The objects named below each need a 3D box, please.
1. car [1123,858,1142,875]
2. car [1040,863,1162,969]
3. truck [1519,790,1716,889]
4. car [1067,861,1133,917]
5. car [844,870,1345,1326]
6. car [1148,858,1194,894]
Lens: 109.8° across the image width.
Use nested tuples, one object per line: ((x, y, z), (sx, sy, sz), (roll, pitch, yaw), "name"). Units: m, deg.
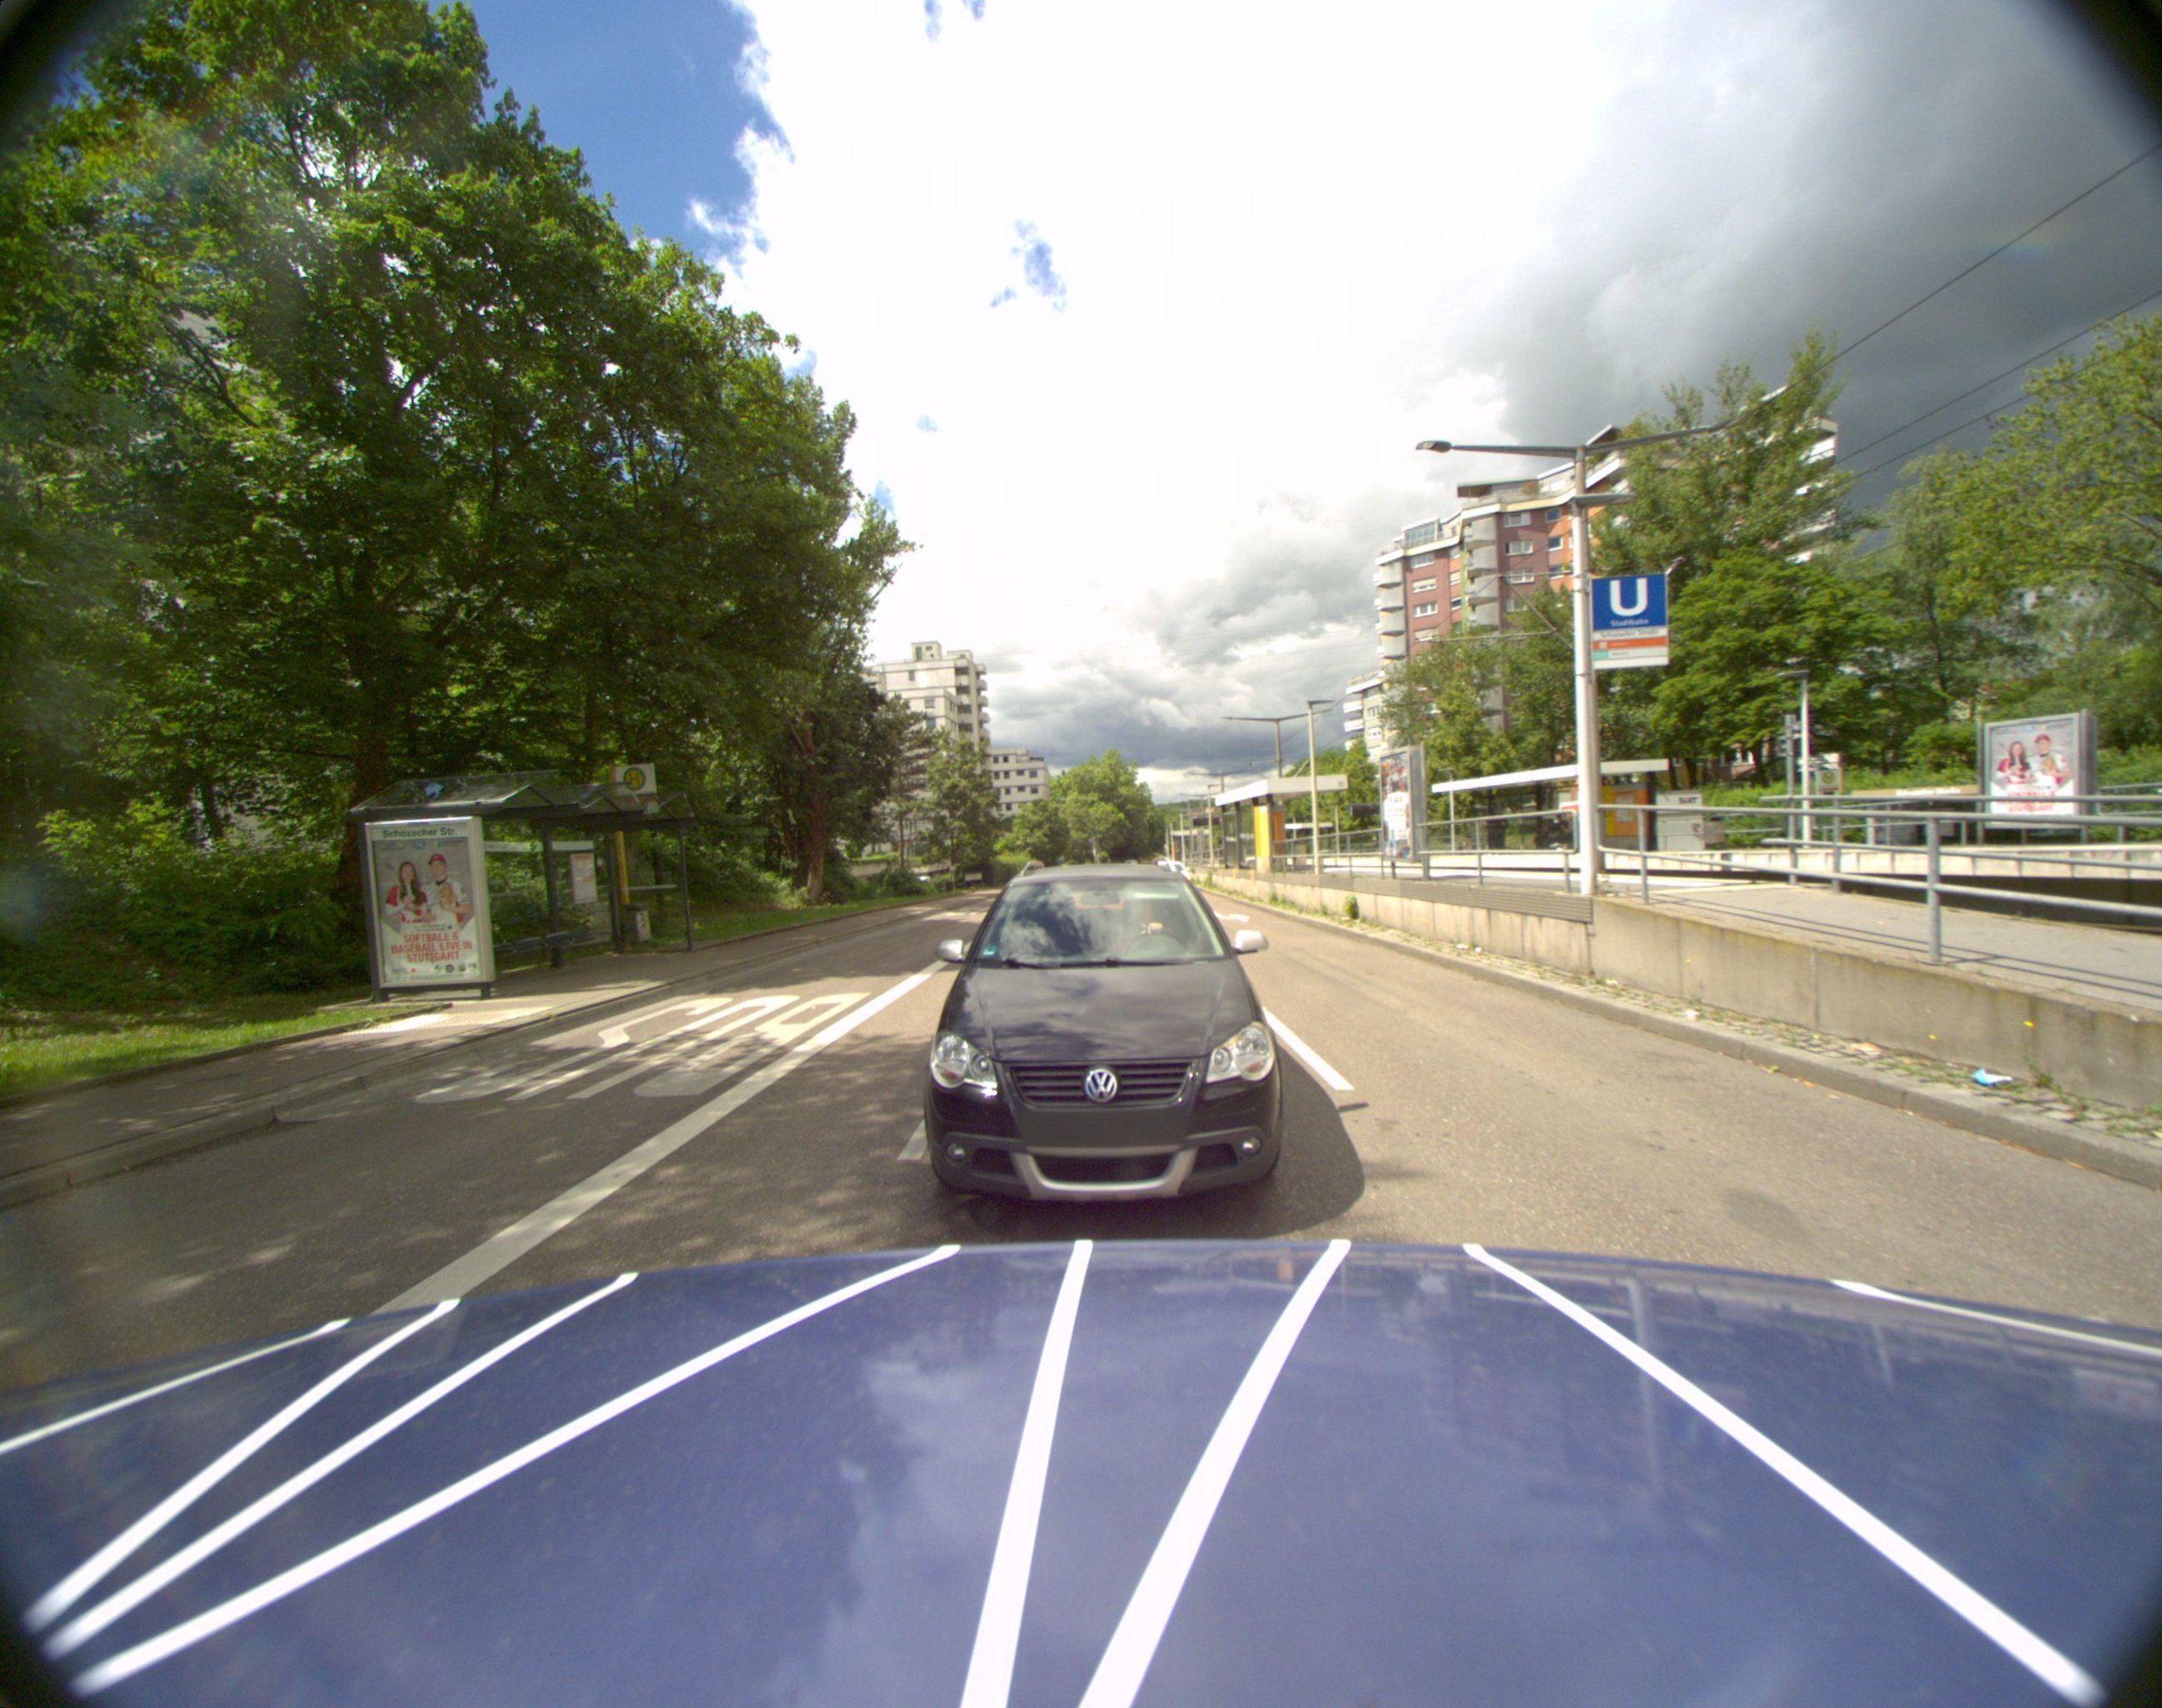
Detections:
((5.281, 1.264, 77.883), (1.732, 1.505, 4.000), (-2, 1, 2), "car")
((0.330, 0.932, 13.099), (1.732, 1.453, 4.000), (-2, 0, 1), "car")
((19.958, -0.463, 28.946), (2.420, 3.203, 7.263), (-2, 0, 1), "truck")
((0.622, 0.966, 22.580), (1.732, 1.452, 4.001), (-2, 0, 3), "car")
((0.084, 0.919, 4.717), (1.732, 1.501, 4.000), (-2, 0, 1), "car")
((4.202, 1.003, 36.061), (1.732, 1.453, 4.000), (-2, 1, 1), "car")
